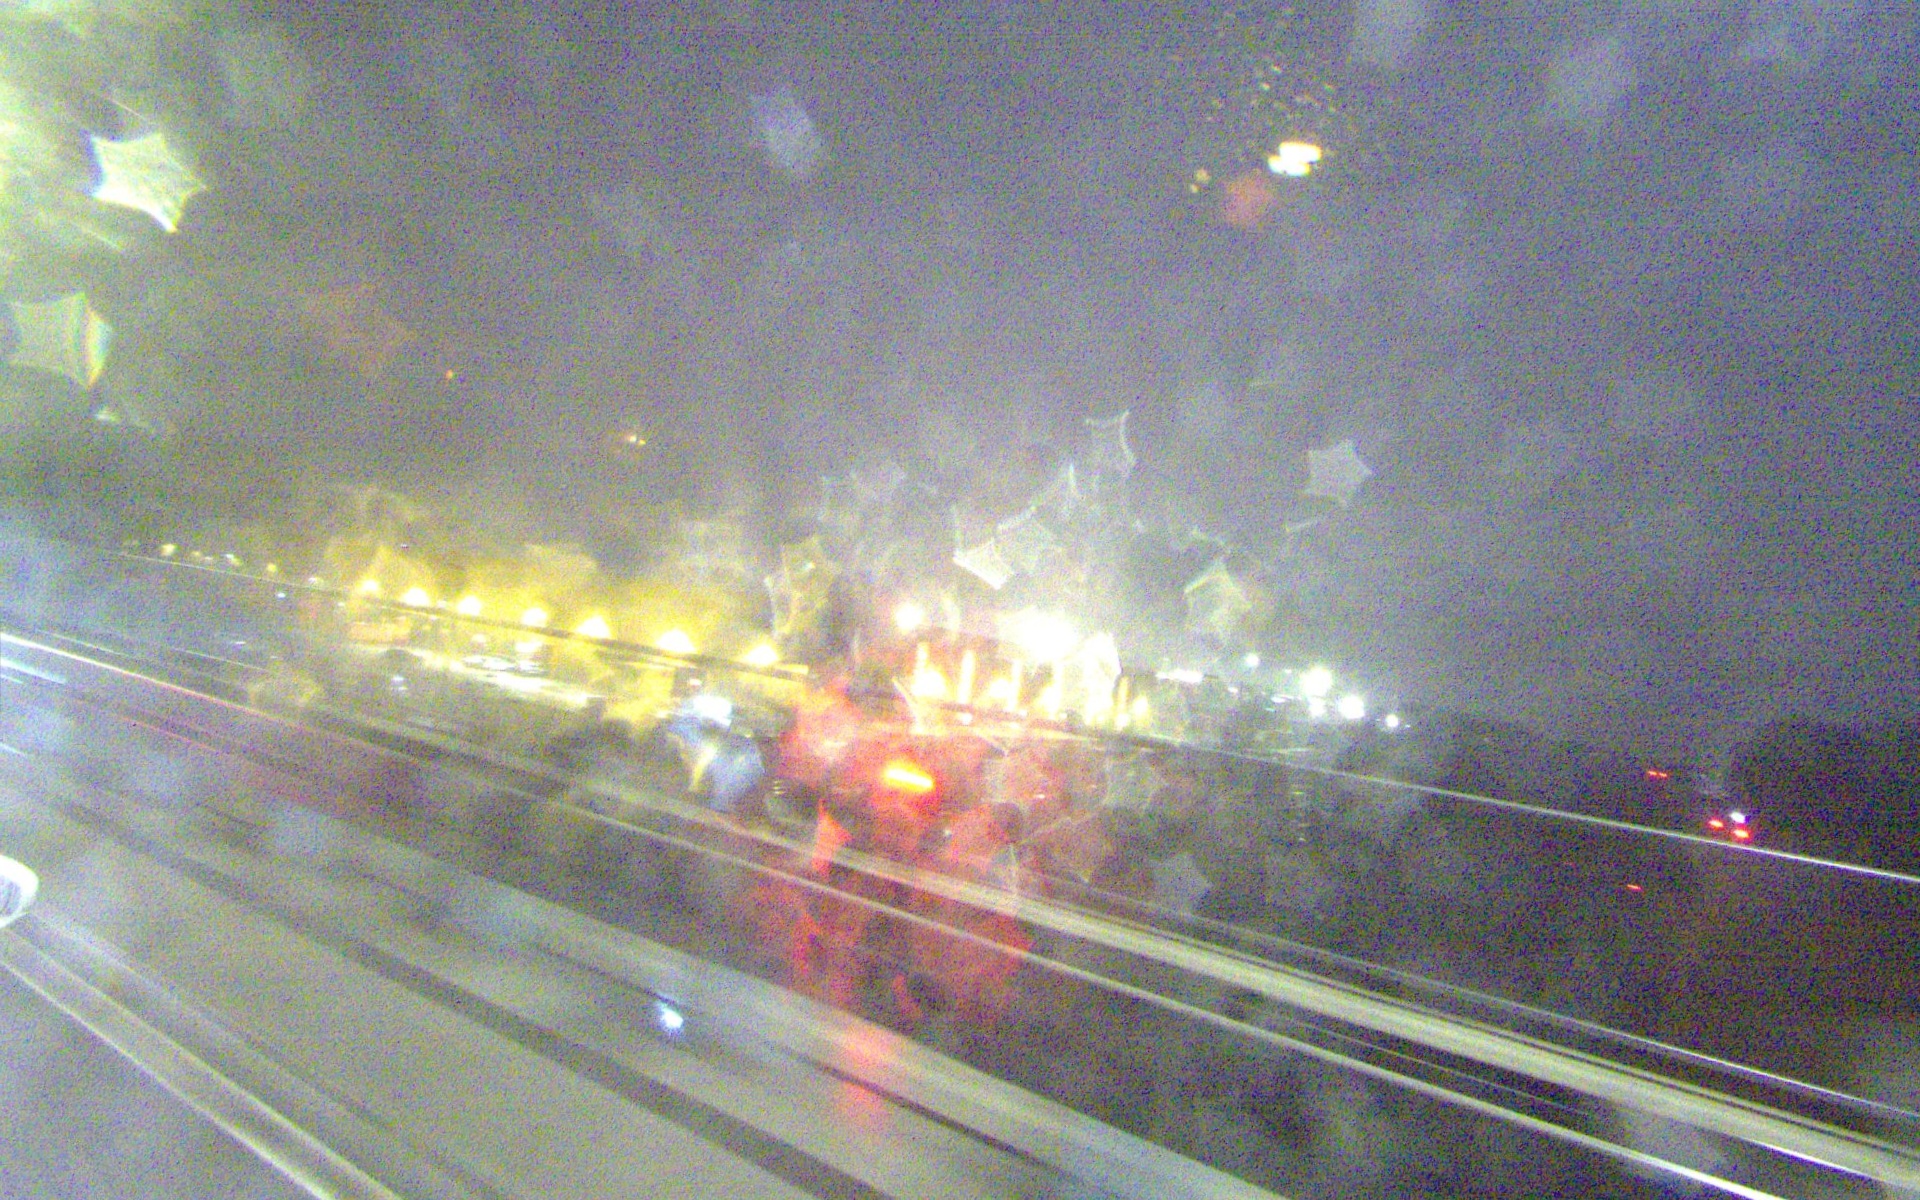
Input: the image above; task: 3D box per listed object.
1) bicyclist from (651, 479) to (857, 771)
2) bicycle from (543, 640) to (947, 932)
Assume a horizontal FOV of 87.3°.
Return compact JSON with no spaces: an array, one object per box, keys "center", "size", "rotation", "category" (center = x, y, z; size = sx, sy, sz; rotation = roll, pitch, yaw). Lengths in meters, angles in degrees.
[{"center":[-1.058,0.120,5.170],"size":[0.751,1.365,0.453],"rotation":[7,-1,28],"category":"bicyclist"},{"center":[-1.167,0.860,5.173],"size":[2.135,1.046,0.485],"rotation":[6,-1,29],"category":"bicycle"}]
